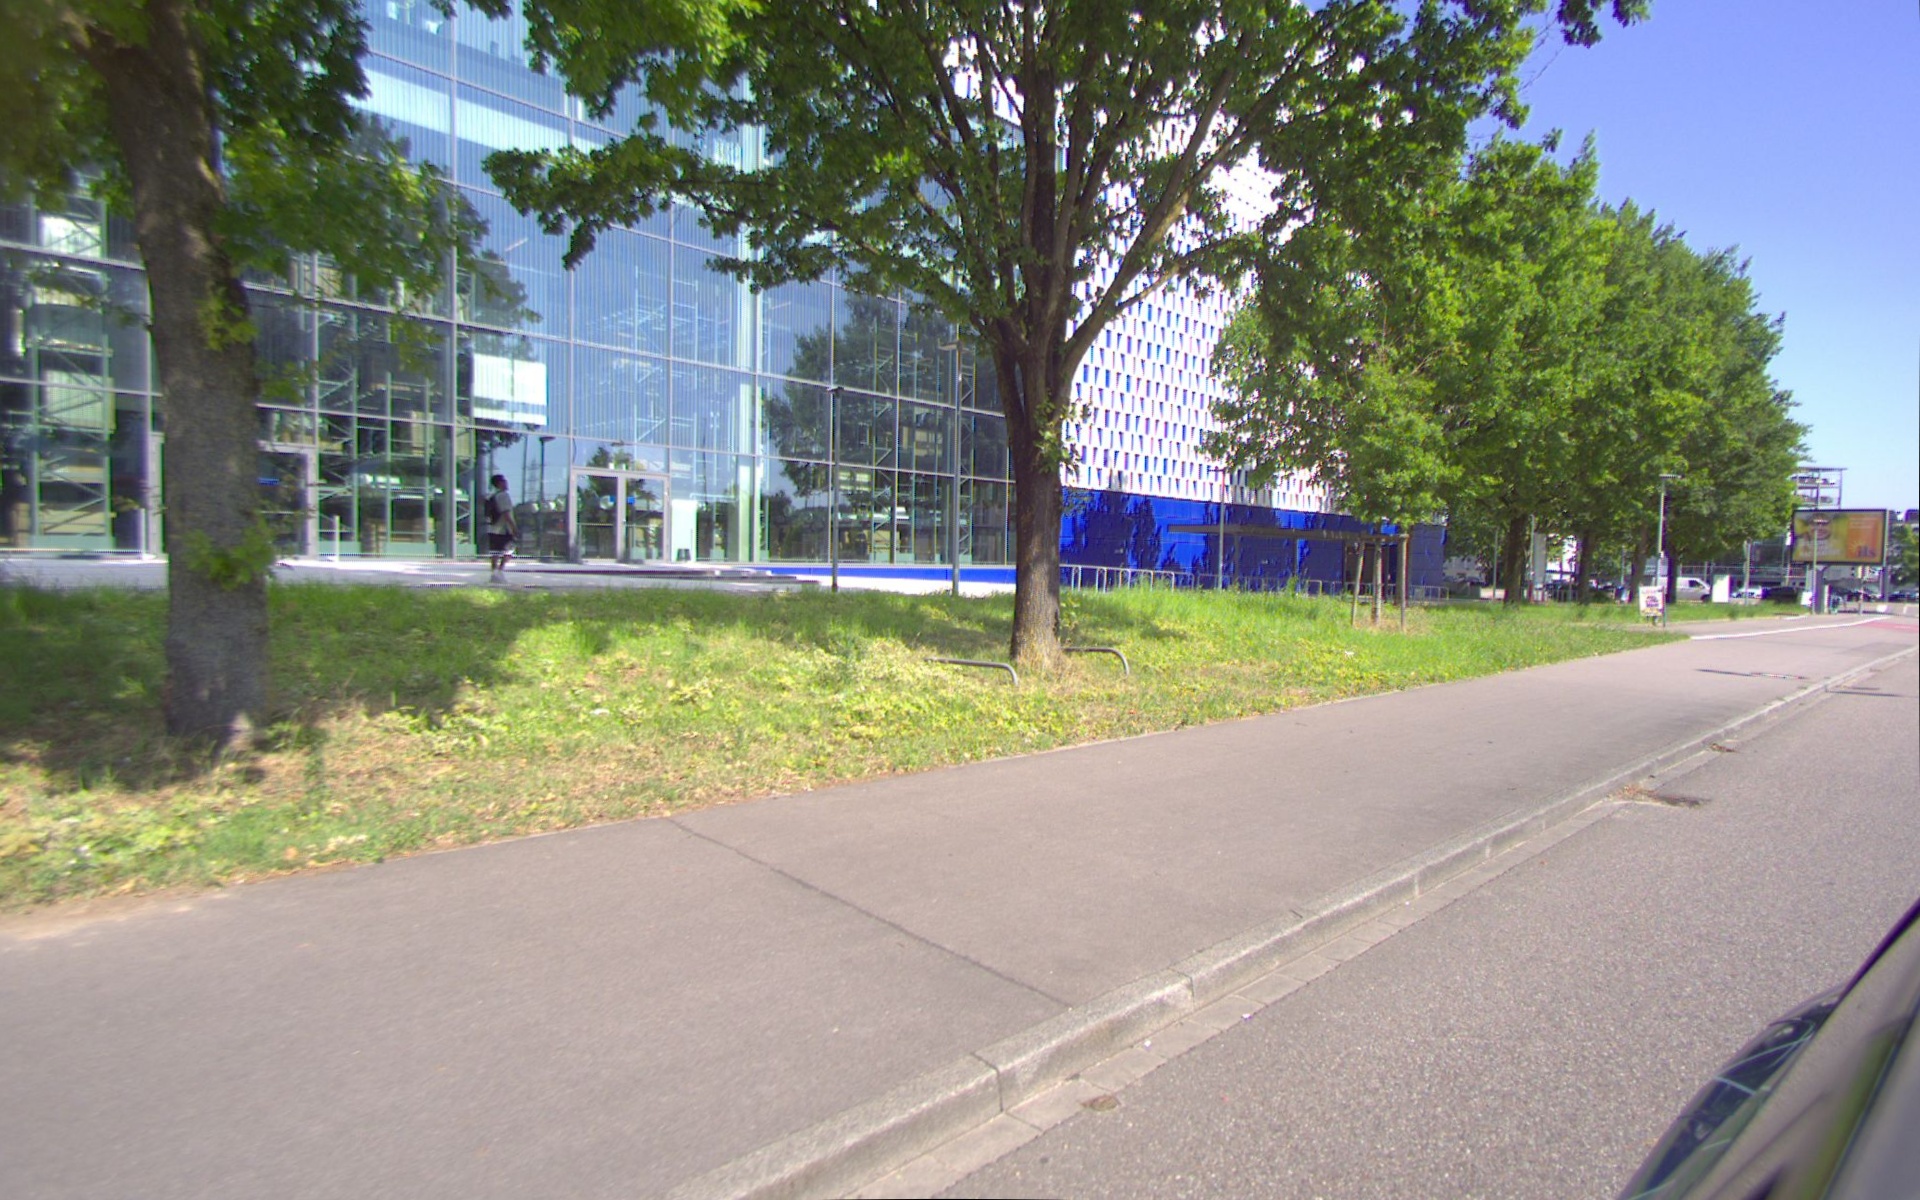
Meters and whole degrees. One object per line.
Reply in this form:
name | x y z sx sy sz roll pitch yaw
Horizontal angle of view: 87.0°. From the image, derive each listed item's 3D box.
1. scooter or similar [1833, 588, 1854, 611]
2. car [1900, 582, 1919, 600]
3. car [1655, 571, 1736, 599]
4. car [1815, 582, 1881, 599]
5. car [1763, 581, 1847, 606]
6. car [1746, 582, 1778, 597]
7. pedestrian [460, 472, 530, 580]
scooter or similar | 46.250 -0.036 52.973 1.160 1.181 0.403 -1 2 -27
car | 82.655 -0.733 87.067 3.928 1.478 1.999 0 2 -39
car | 58.356 -1.222 80.349 1.713 2.031 4.988 -2 4 -45
car | 79.816 -0.847 90.998 1.792 1.366 4.340 -1 3 -45
car | 60.790 -0.520 72.849 1.688 1.647 4.491 -2 3 -45
car | 75.089 -0.994 94.732 1.999 1.439 4.050 1 1 43
pedestrian | -7.287 -1.141 15.869 0.688 1.632 0.759 4 2 43
